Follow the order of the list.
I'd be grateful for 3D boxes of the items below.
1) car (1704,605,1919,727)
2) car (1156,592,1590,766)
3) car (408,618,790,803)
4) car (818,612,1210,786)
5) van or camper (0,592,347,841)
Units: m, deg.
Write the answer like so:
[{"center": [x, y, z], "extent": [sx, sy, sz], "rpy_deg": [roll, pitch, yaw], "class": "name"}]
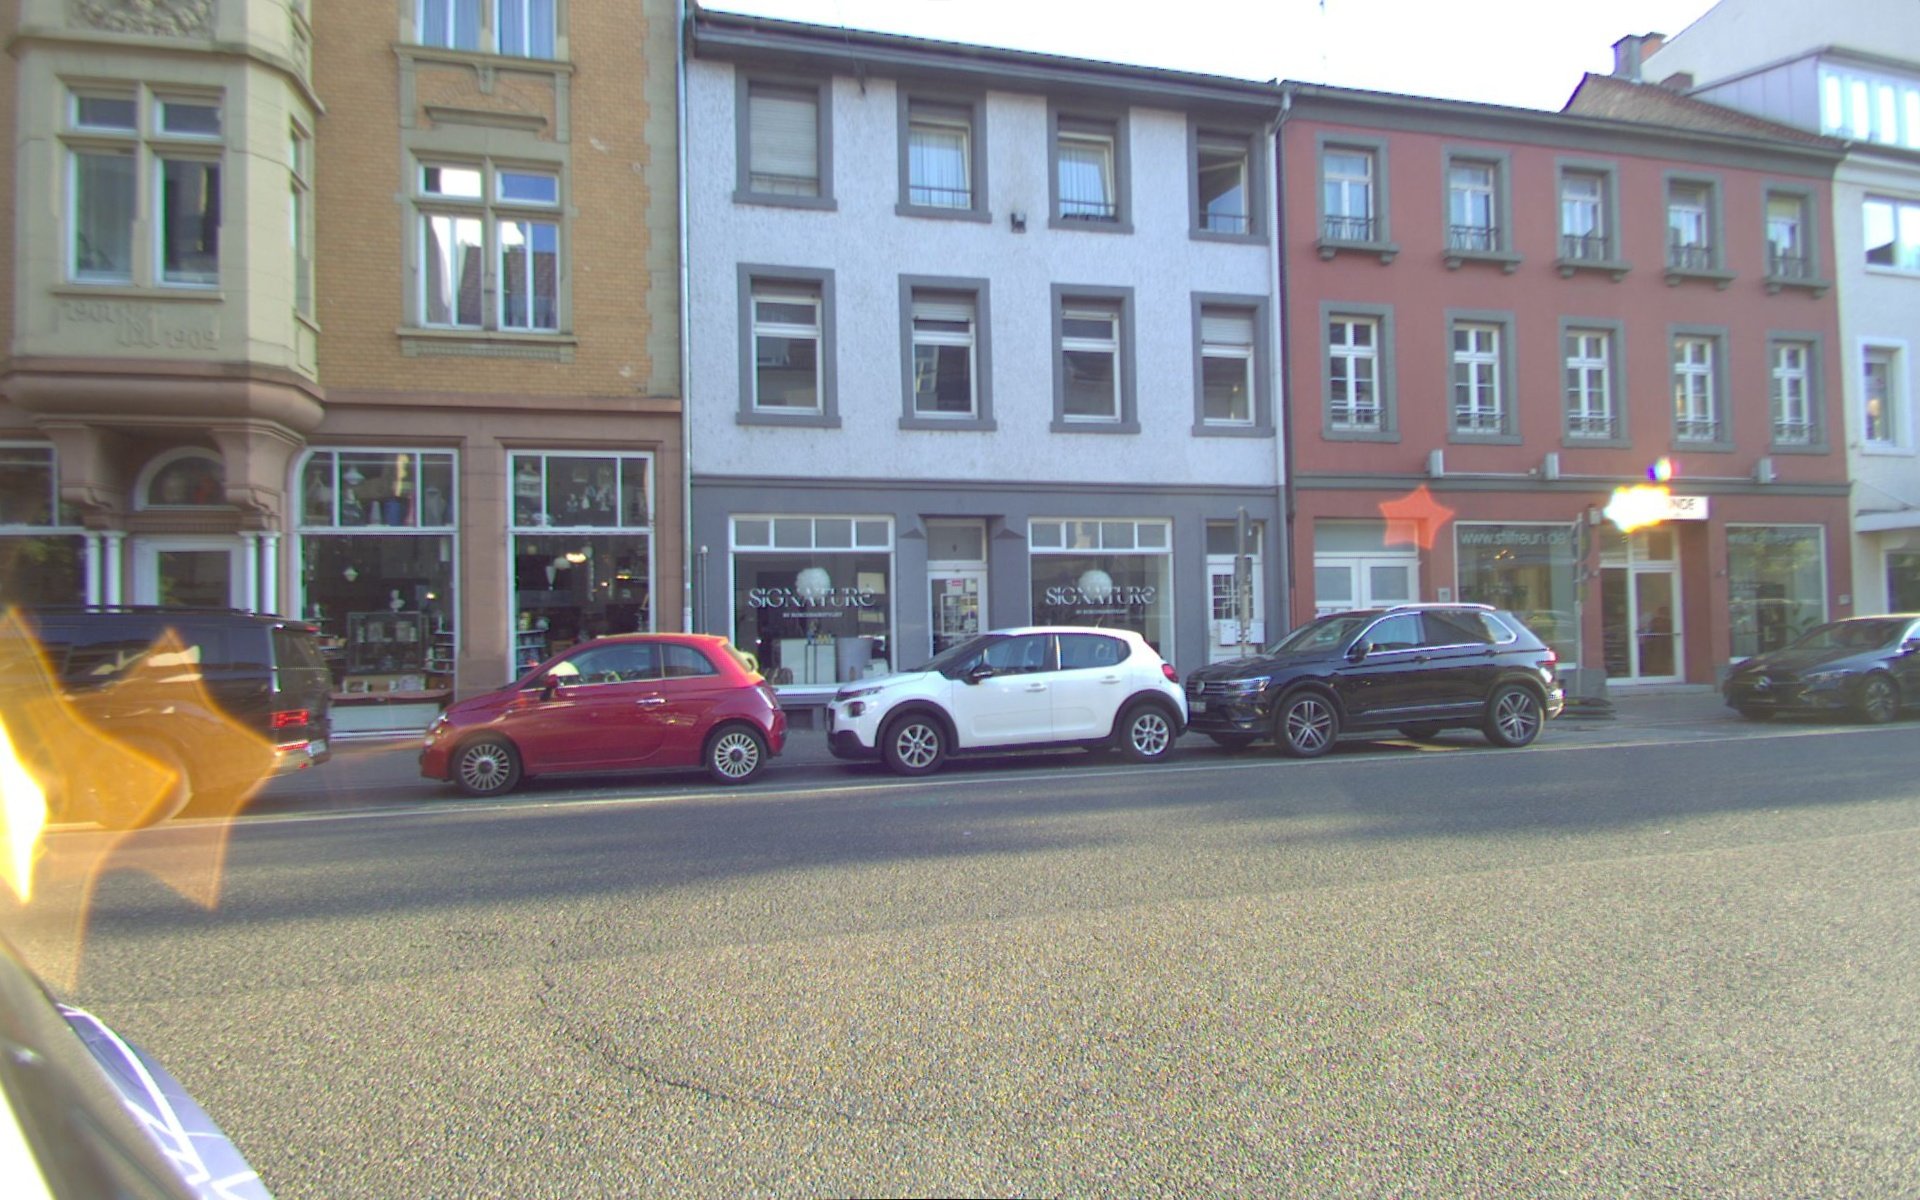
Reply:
[{"center": [12.913, 0.876, 14.056], "extent": [4.336, 1.500, 1.695], "rpy_deg": [-1, -5, -15], "class": "car"}, {"center": [4.748, 0.868, 11.818], "extent": [4.385, 1.711, 1.805], "rpy_deg": [-1, -4, -15], "class": "car"}, {"center": [-3.465, 1.039, 10.169], "extent": [3.365, 1.582, 1.534], "rpy_deg": [-1, -3, -12], "class": "car"}, {"center": [0.501, 1.008, 10.979], "extent": [3.869, 1.585, 1.671], "rpy_deg": [-1, -4, -13], "class": "car"}, {"center": [-7.732, 0.916, 8.253], "extent": [4.384, 1.821, 1.901], "rpy_deg": [-1, -3, -19], "class": "van or camper"}]
